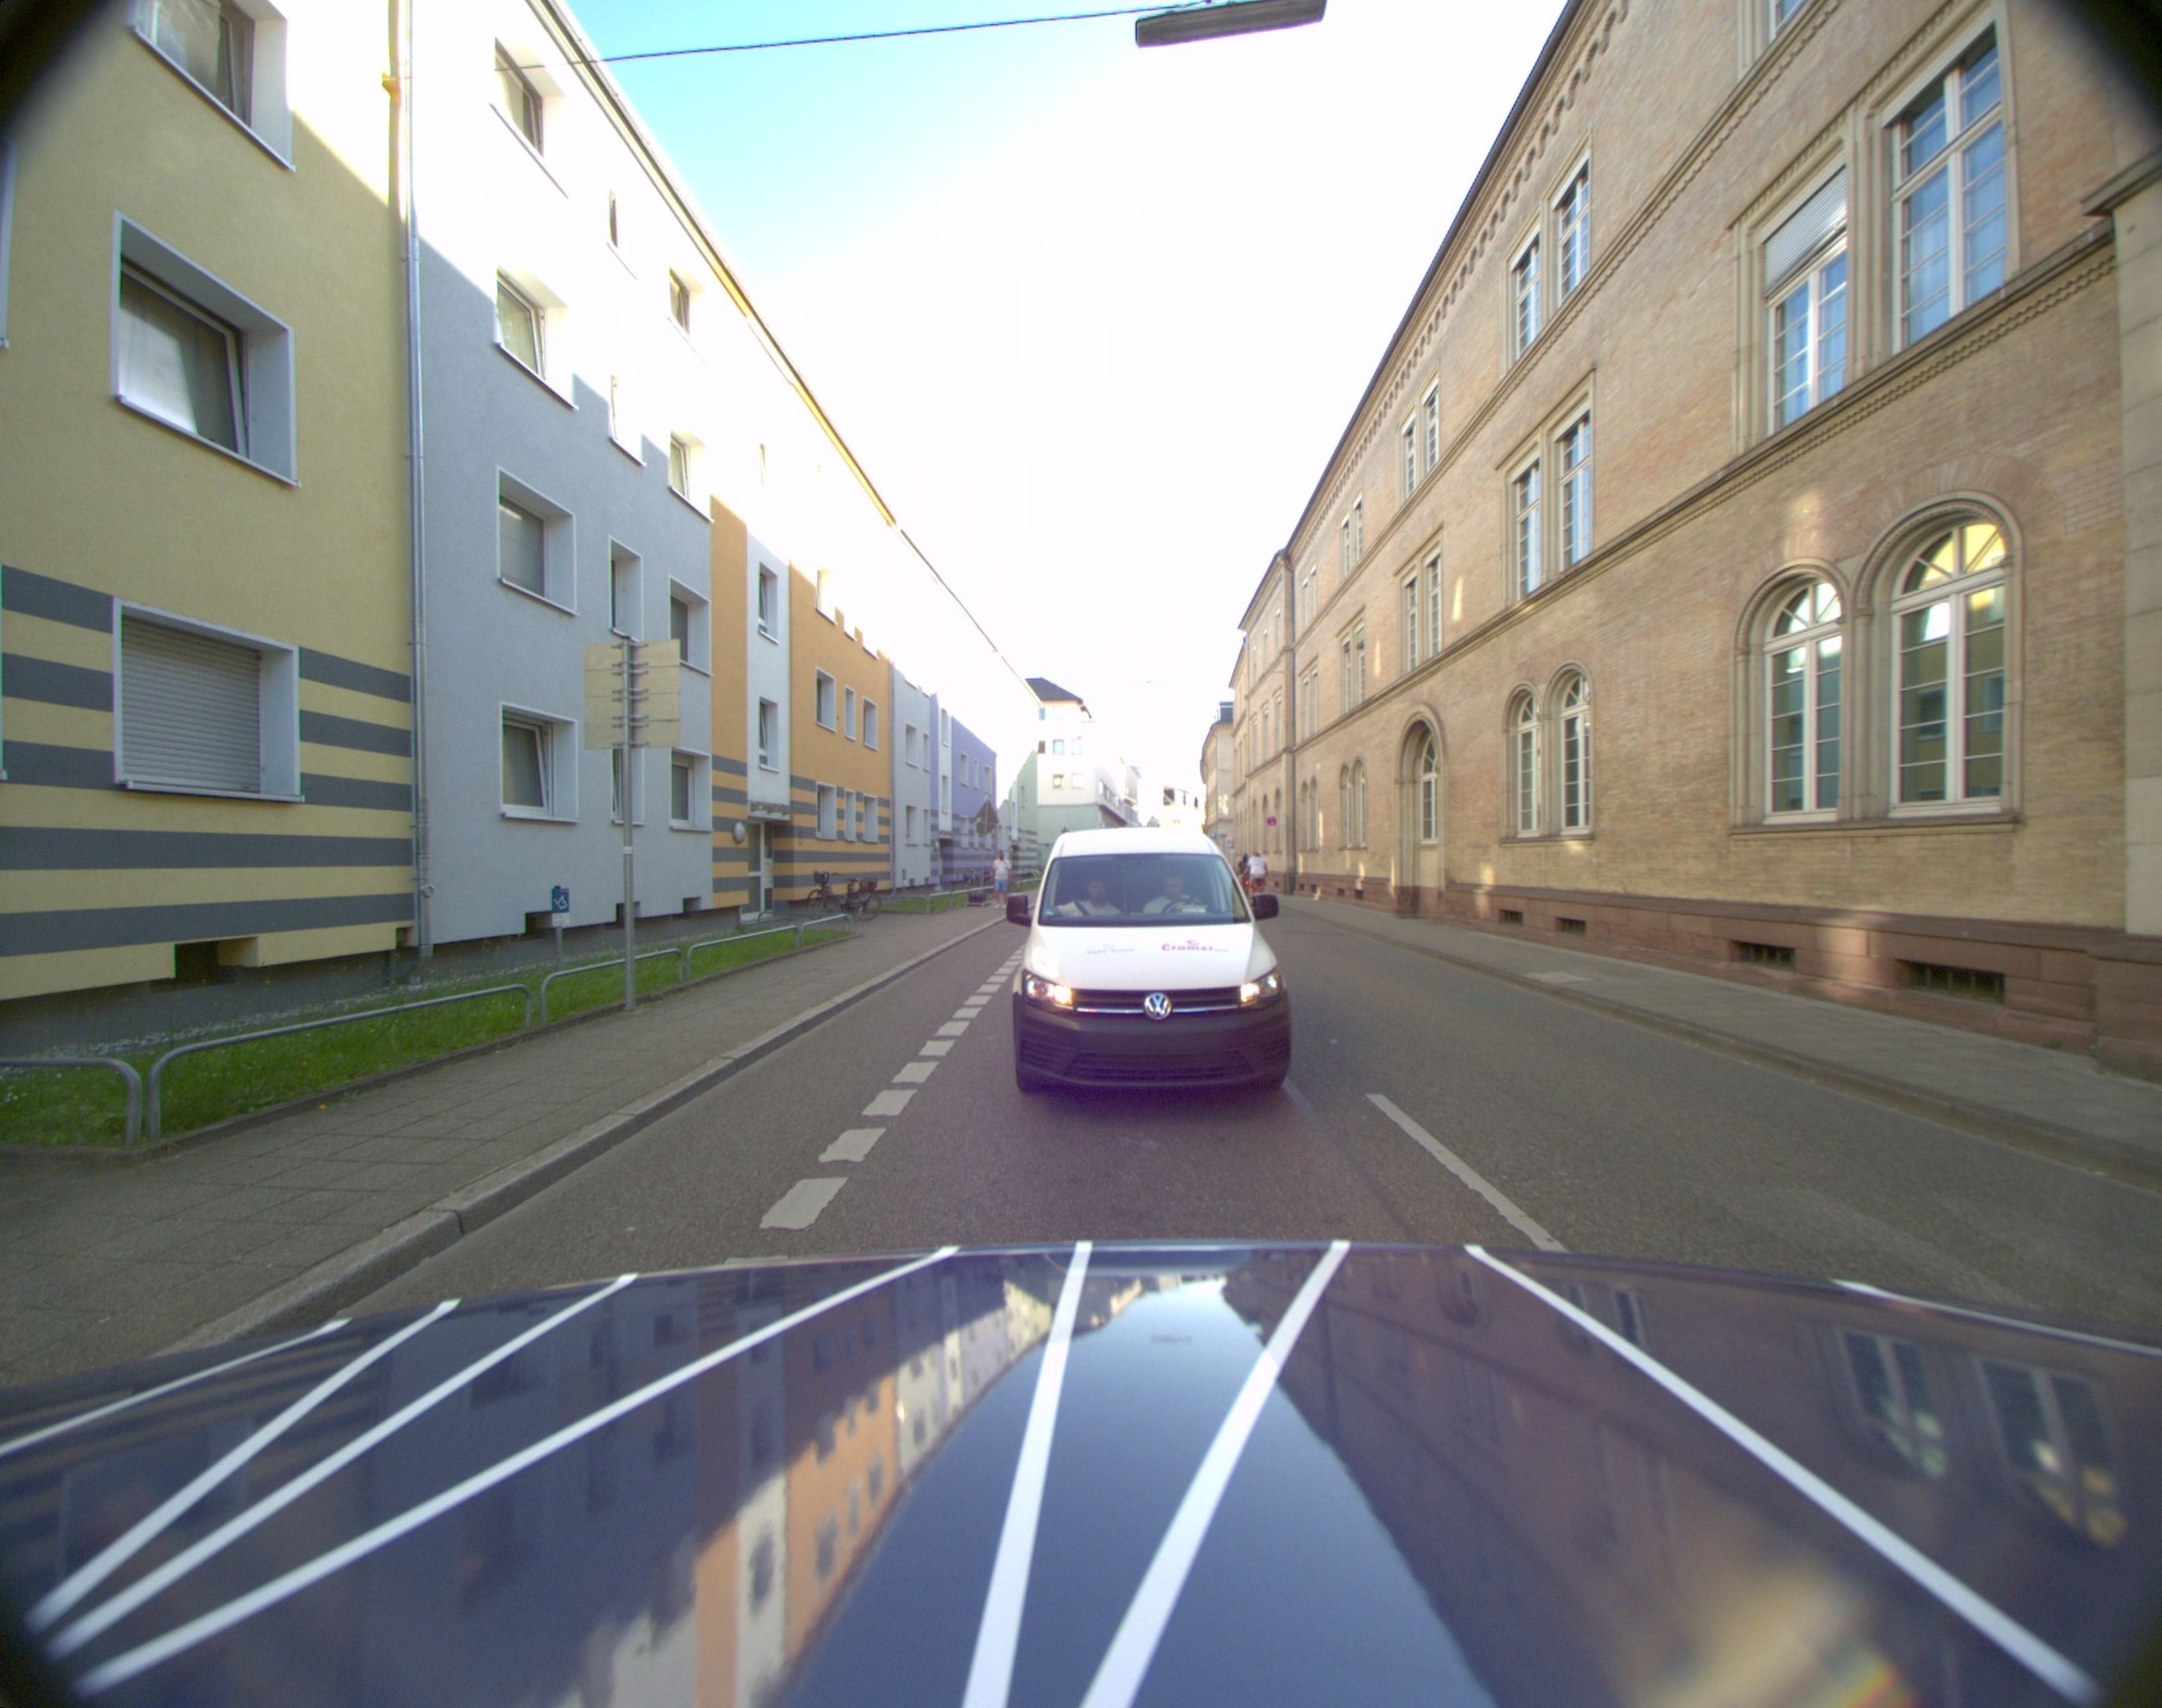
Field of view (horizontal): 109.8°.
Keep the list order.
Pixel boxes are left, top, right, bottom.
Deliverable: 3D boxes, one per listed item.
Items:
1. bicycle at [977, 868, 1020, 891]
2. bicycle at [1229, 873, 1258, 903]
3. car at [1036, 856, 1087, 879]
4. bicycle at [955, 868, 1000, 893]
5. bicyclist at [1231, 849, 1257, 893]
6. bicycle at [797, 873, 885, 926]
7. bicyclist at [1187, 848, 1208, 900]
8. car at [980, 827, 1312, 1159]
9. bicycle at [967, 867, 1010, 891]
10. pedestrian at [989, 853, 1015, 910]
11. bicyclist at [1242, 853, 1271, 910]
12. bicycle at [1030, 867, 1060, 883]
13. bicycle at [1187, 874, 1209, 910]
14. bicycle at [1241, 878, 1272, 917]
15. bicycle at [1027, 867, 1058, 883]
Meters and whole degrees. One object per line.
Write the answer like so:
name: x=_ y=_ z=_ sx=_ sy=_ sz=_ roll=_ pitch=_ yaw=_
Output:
bicycle: x=-3.658 y=1.138 z=33.825 sx=1.775 sy=0.934 sz=0.584 roll=1 pitch=1 yaw=7
bicycle: x=5.811 y=1.206 z=27.276 sx=0.651 sy=1.001 sz=1.876 roll=2 pitch=0 yaw=2
car: x=-1.592 y=1.137 z=63.484 sx=3.995 sy=1.681 sz=1.901 roll=-2 pitch=1 yaw=5
bicycle: x=-4.325 y=1.111 z=31.867 sx=1.775 sy=0.990 sz=0.584 roll=1 pitch=1 yaw=7
bicyclist: x=5.833 y=0.602 z=27.197 sx=0.651 sy=1.500 sz=1.111 roll=2 pitch=0 yaw=2
bicycle: x=-5.394 y=1.015 z=17.111 sx=1.776 sy=1.118 sz=0.583 roll=1 pitch=1 yaw=-1
bicyclist: x=3.525 y=0.608 z=23.045 sx=0.546 sy=1.524 sz=0.870 roll=2 pitch=0 yaw=6
car: x=0.394 y=0.777 z=6.865 sx=1.819 sy=1.825 sz=5.341 roll=0 pitch=0 yaw=1
bicycle: x=-4.048 y=1.101 z=33.210 sx=1.775 sy=0.990 sz=0.584 roll=1 pitch=1 yaw=7
pedestrian: x=-2.338 y=0.797 z=22.570 sx=0.644 sy=1.662 sz=0.834 roll=1 pitch=0 yaw=3
bicyclist: x=4.941 y=0.766 z=21.420 sx=0.651 sy=1.558 sz=0.961 roll=2 pitch=0 yaw=7
bicycle: x=-2.234 y=1.310 z=47.618 sx=1.775 sy=0.934 sz=0.584 roll=1 pitch=1 yaw=7
bicycle: x=3.487 y=1.122 z=22.787 sx=0.546 sy=1.001 sz=1.758 roll=2 pitch=0 yaw=6
bicycle: x=4.944 y=1.204 z=21.494 sx=0.651 sy=1.001 sz=1.807 roll=2 pitch=0 yaw=7
bicycle: x=-2.314 y=1.279 z=46.081 sx=1.775 sy=0.934 sz=0.584 roll=1 pitch=1 yaw=7
